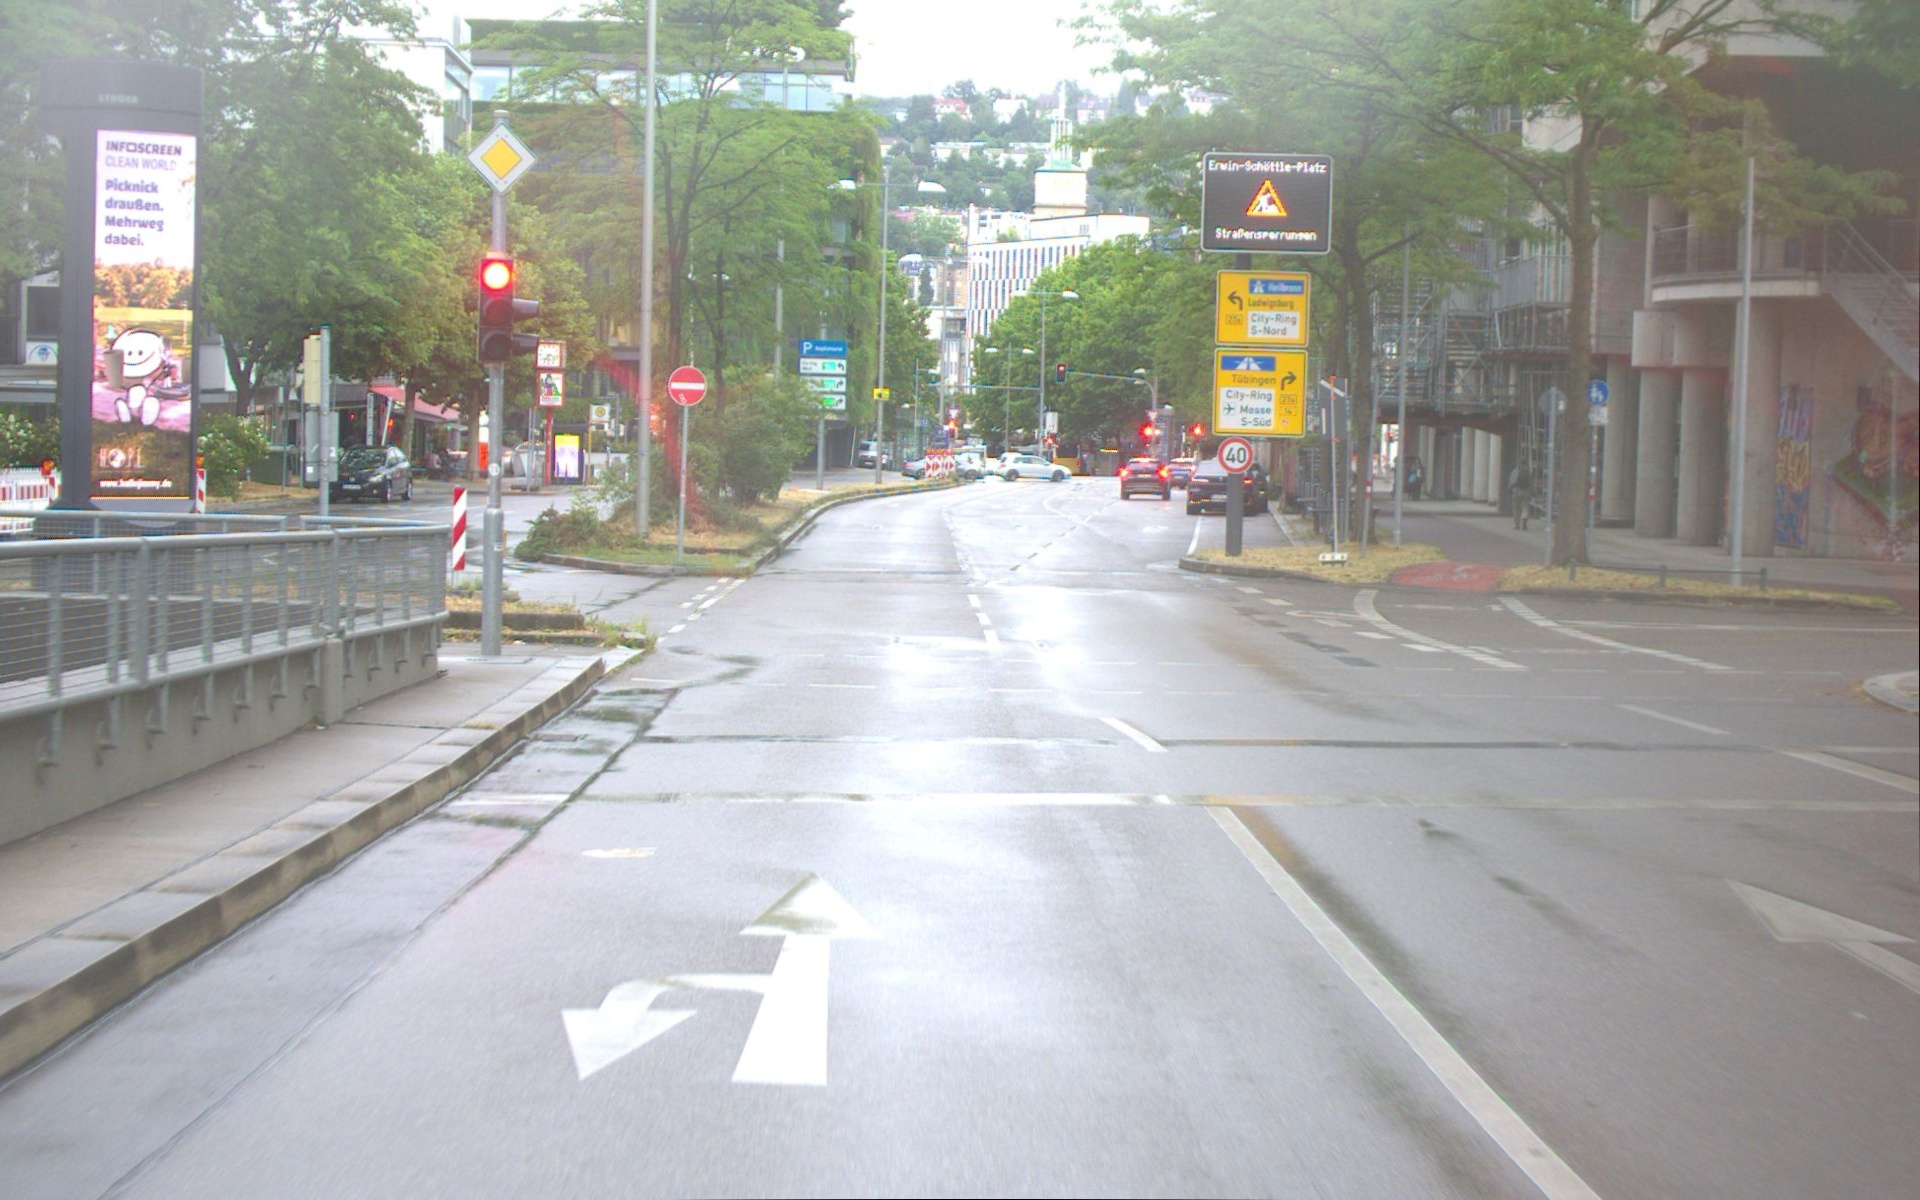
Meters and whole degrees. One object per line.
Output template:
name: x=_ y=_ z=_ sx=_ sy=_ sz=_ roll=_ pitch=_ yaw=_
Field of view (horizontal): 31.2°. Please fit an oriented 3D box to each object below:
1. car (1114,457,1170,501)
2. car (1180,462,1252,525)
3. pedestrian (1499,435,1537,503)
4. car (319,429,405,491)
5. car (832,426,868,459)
car: x=6.676 y=-4.446 z=126.453 sx=1.746 sy=1.513 sz=4.107 roll=2 pitch=2 yaw=-1
car: x=7.262 y=-3.034 z=97.748 sx=1.901 sy=1.678 sz=3.911 roll=2 pitch=2 yaw=3
pedestrian: x=12.996 y=-3.052 z=80.089 sx=0.786 sy=1.552 sz=0.532 roll=3 pitch=2 yaw=6
car: x=-16.907 y=-3.983 z=97.306 sx=1.780 sy=1.550 sz=3.894 roll=2 pitch=4 yaw=-1
car: x=-7.628 y=-10.953 z=238.831 sx=2.128 sy=2.157 sz=5.197 roll=2 pitch=2 yaw=2
